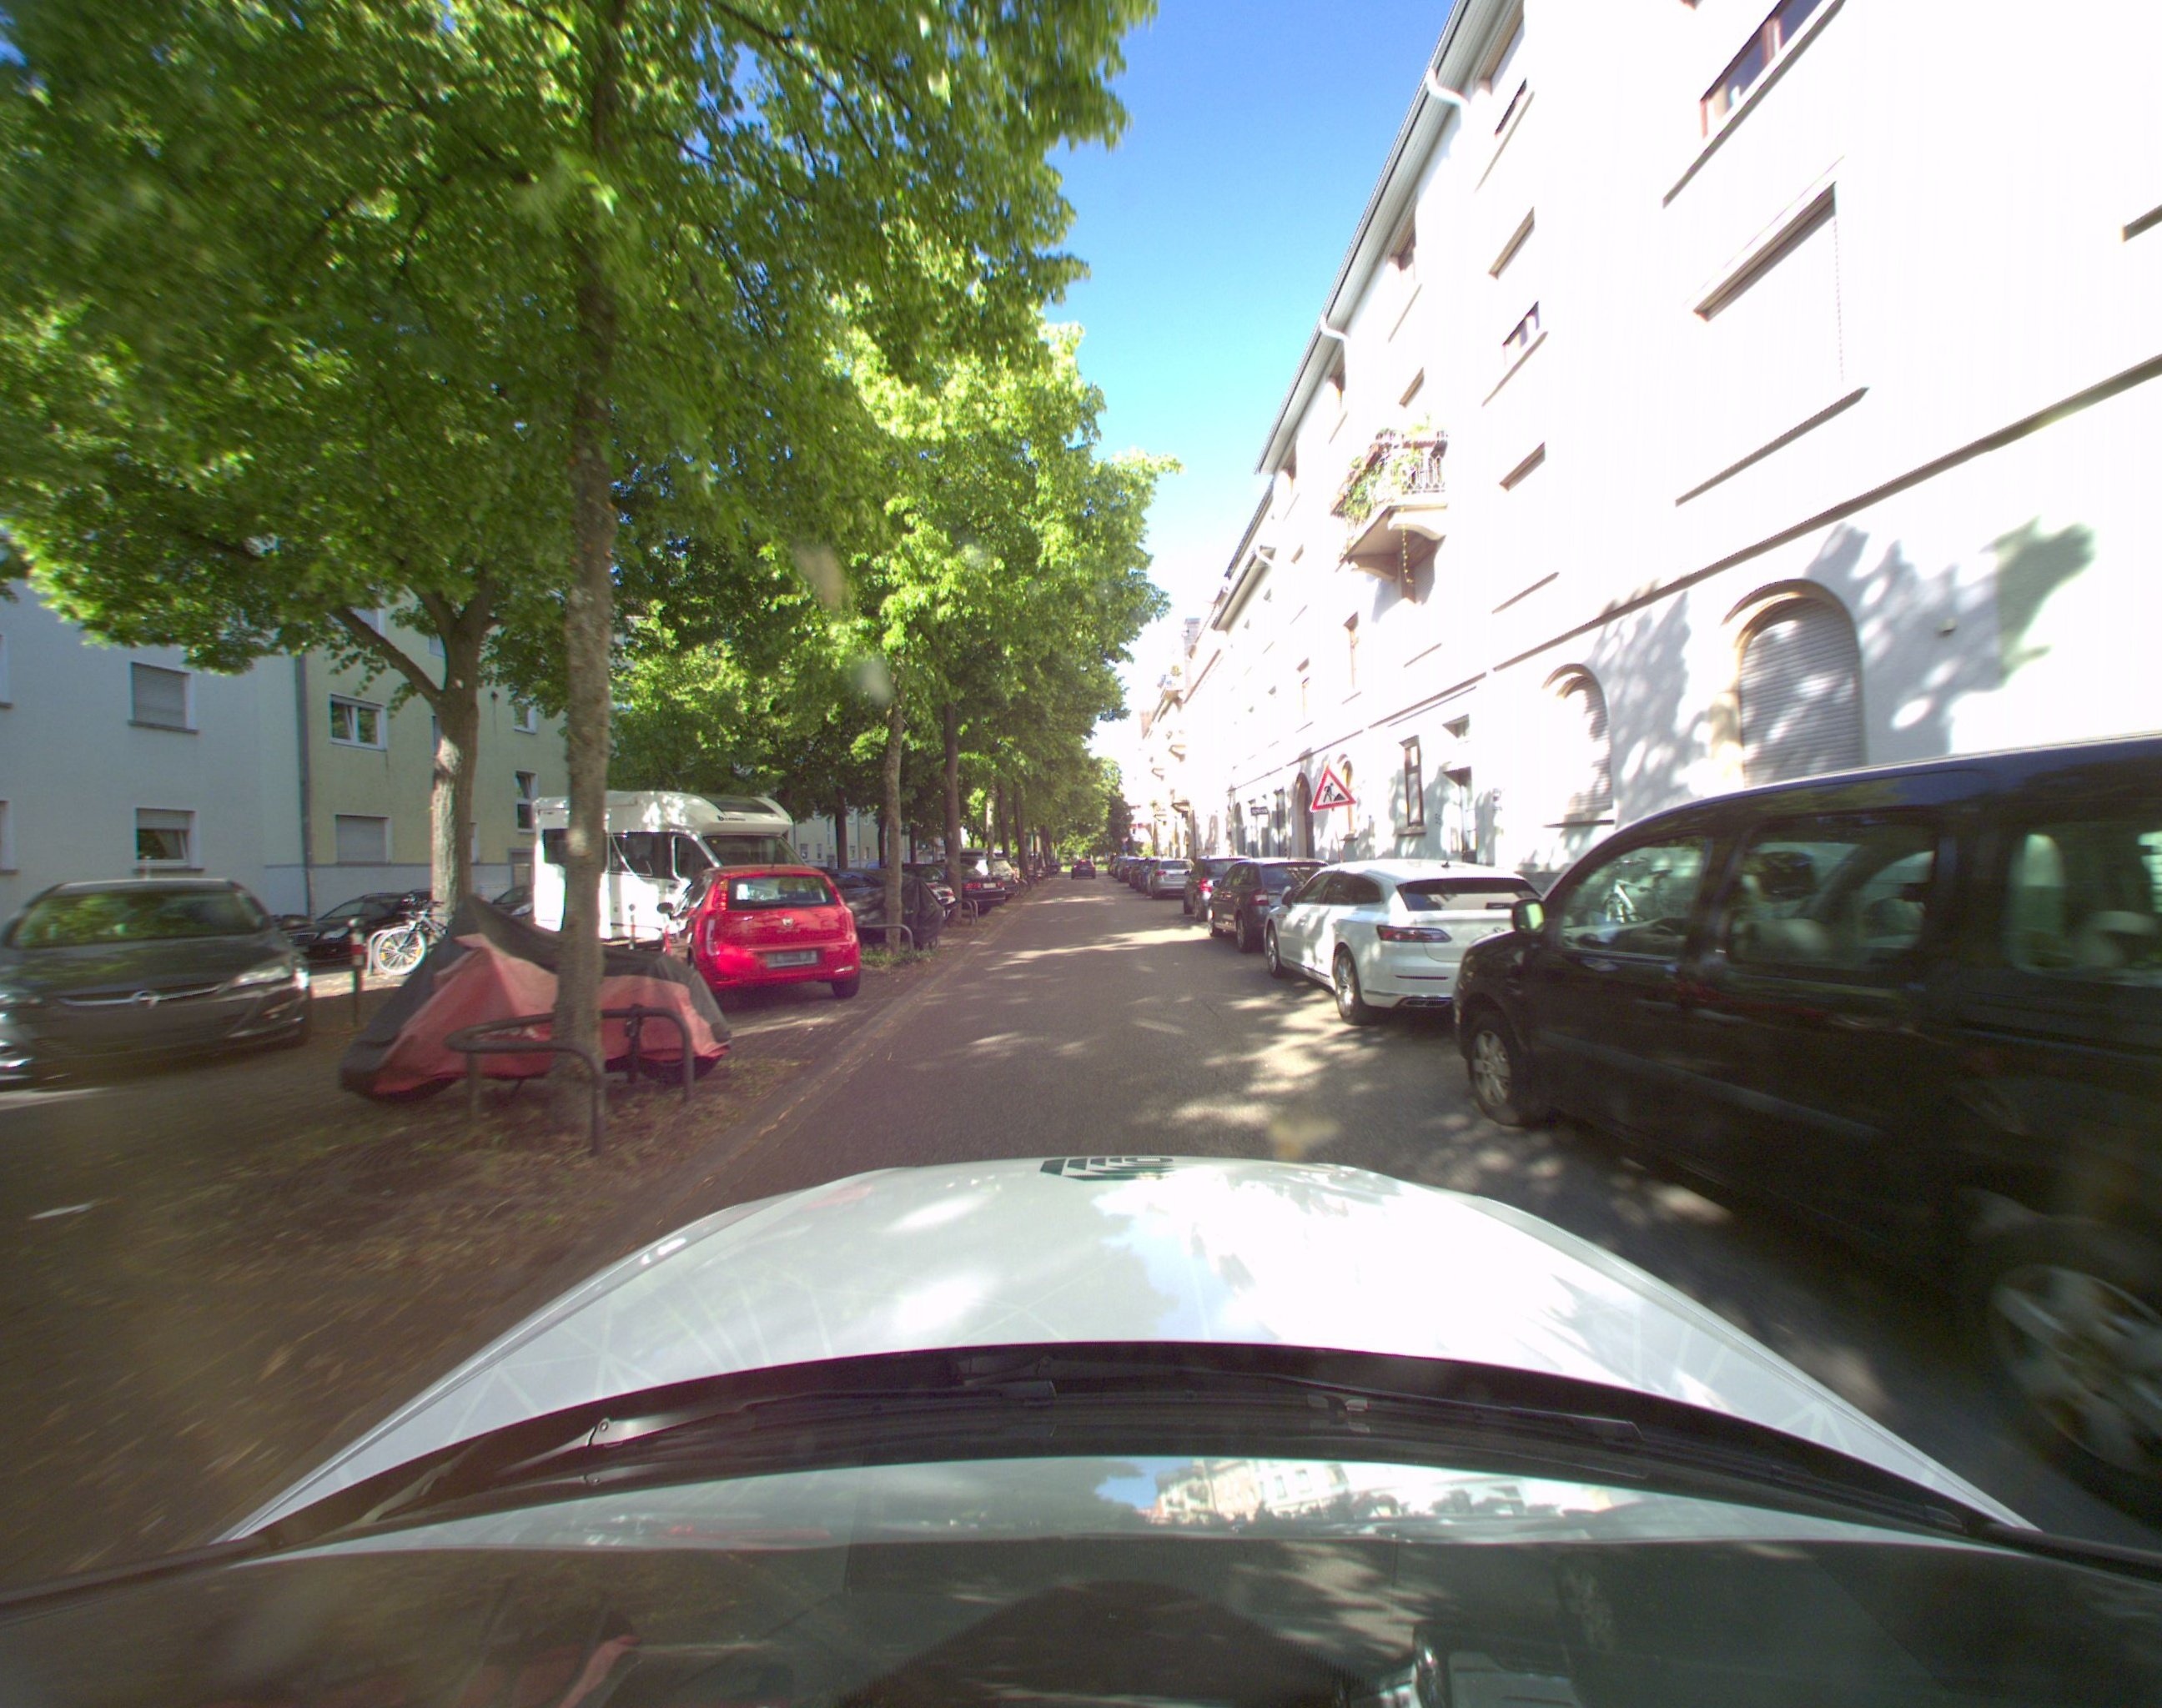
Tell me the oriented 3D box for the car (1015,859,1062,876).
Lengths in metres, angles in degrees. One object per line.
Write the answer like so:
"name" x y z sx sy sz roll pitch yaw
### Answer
"car" -3.848 1.224 72.902 4.084 1.466 1.862 -1 -1 -7

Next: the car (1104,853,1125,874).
"car" 3.115 0.863 76.242 1.795 1.871 4.272 1 0 0

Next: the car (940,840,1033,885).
"car" -6.921 0.657 59.537 6.020 2.623 2.465 -6 -3 15

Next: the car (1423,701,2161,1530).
"car" 3.170 0.539 3.302 1.766 1.794 3.988 -3 0 -1

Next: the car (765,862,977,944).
"car" -4.264 0.965 16.338 4.103 1.425 1.726 -3 -1 32

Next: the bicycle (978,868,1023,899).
"bicycle" -3.068 1.126 31.125 1.672 1.159 0.381 -1 -1 19

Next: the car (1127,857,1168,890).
"car" 3.188 0.920 39.765 1.686 1.468 4.004 -1 0 0

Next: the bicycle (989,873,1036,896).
"bicycle" -2.737 1.221 32.540 1.882 0.919 0.381 -1 -1 19

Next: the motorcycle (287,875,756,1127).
"motorcycle" -3.529 0.872 5.416 2.319 1.335 0.966 -3 -1 -10

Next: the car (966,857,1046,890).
"car" -3.822 0.983 41.551 3.649 1.596 1.783 -1 -1 25

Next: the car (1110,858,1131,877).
"car" 3.443 1.147 70.936 1.640 1.537 3.999 1 0 0

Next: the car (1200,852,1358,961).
"car" 3.149 0.777 13.767 1.594 1.492 3.965 -3 0 -1

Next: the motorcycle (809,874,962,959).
"motorcycle" -3.085 0.972 12.939 2.135 1.230 0.883 -2 0 8

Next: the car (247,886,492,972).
"car" -15.345 1.536 17.948 1.640 1.399 4.301 -3 0 -2

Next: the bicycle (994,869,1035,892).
"bicycle" -3.067 1.223 37.591 1.797 0.994 0.427 -3 -1 15

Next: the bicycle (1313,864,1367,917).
"bicycle" 6.169 0.843 19.460 0.406 1.186 1.842 -2 0 -9

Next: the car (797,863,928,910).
"car" -7.244 1.071 26.850 4.144 1.391 1.830 -2 -1 33

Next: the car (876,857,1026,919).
"car" -3.598 0.947 22.292 3.968 1.474 1.637 -4 0 35

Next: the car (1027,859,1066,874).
"car" -3.750 1.374 88.268 4.088 1.481 1.787 -3 -2 40

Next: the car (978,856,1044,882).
"car" -4.753 1.014 55.131 4.222 1.641 1.665 -1 -1 28

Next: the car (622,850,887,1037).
"car" -3.907 0.883 9.360 1.672 1.618 3.834 -3 0 -40

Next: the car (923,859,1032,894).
"car" -4.592 1.002 36.067 4.570 1.486 1.772 -1 -1 29

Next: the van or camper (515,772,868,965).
"van or camper" -7.025 0.272 14.500 6.226 2.825 2.422 -1 -1 28

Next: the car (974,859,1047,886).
"car" -4.286 1.118 49.323 4.057 1.481 1.742 -2 -1 29

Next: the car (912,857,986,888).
"car" -7.624 1.070 47.051 3.865 1.555 1.858 -3 0 30

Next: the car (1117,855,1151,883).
"car" 3.182 0.893 49.703 1.798 1.563 4.322 -3 0 1

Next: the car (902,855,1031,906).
"car" -3.990 0.901 28.353 4.038 1.653 1.874 -1 -1 27

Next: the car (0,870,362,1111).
"car" -8.334 0.988 7.025 4.085 1.486 1.845 -3 -1 28

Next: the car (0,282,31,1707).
"car" -5.171 0.347 2.130 6.246 2.559 2.353 -2 -1 32

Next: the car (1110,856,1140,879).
"car" 3.368 1.025 62.835 1.859 1.643 4.487 -1 0 -2

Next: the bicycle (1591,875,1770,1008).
"bicycle" 6.195 0.839 8.568 0.393 1.181 1.983 -2 0 0

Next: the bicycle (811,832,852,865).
"bicycle" -9.466 -0.204 30.938 0.352 1.200 1.811 -1 -1 24

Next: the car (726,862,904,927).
"car" -6.646 0.993 20.383 3.951 1.486 1.840 -2 -1 23

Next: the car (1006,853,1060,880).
"car" -3.719 0.964 63.142 3.801 1.889 1.856 -3 -1 37

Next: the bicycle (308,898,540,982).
"bicycle" -9.010 1.163 11.279 2.444 0.979 0.630 -2 -1 -13

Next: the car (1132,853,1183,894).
"car" 3.211 0.780 34.774 1.761 1.551 4.183 -3 0 0

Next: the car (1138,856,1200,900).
"car" 3.157 0.824 29.973 1.764 1.431 4.290 -3 0 0

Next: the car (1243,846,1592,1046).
"car" 2.994 0.703 8.416 1.602 1.420 4.566 -3 0 -1

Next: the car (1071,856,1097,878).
"car" 0.265 0.925 60.829 1.708 1.483 4.146 -3 0 1

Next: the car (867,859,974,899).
"car" -6.700 1.043 33.904 4.063 1.473 1.883 -2 -1 28

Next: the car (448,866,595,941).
"car" -15.309 1.285 22.513 1.471 1.676 3.598 -7 0 -2

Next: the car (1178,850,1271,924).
"car" 3.347 0.717 19.622 1.575 1.551 4.042 -2 0 1

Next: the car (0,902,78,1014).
"car" -15.181 1.461 9.557 1.745 1.436 4.078 -4 0 -2
